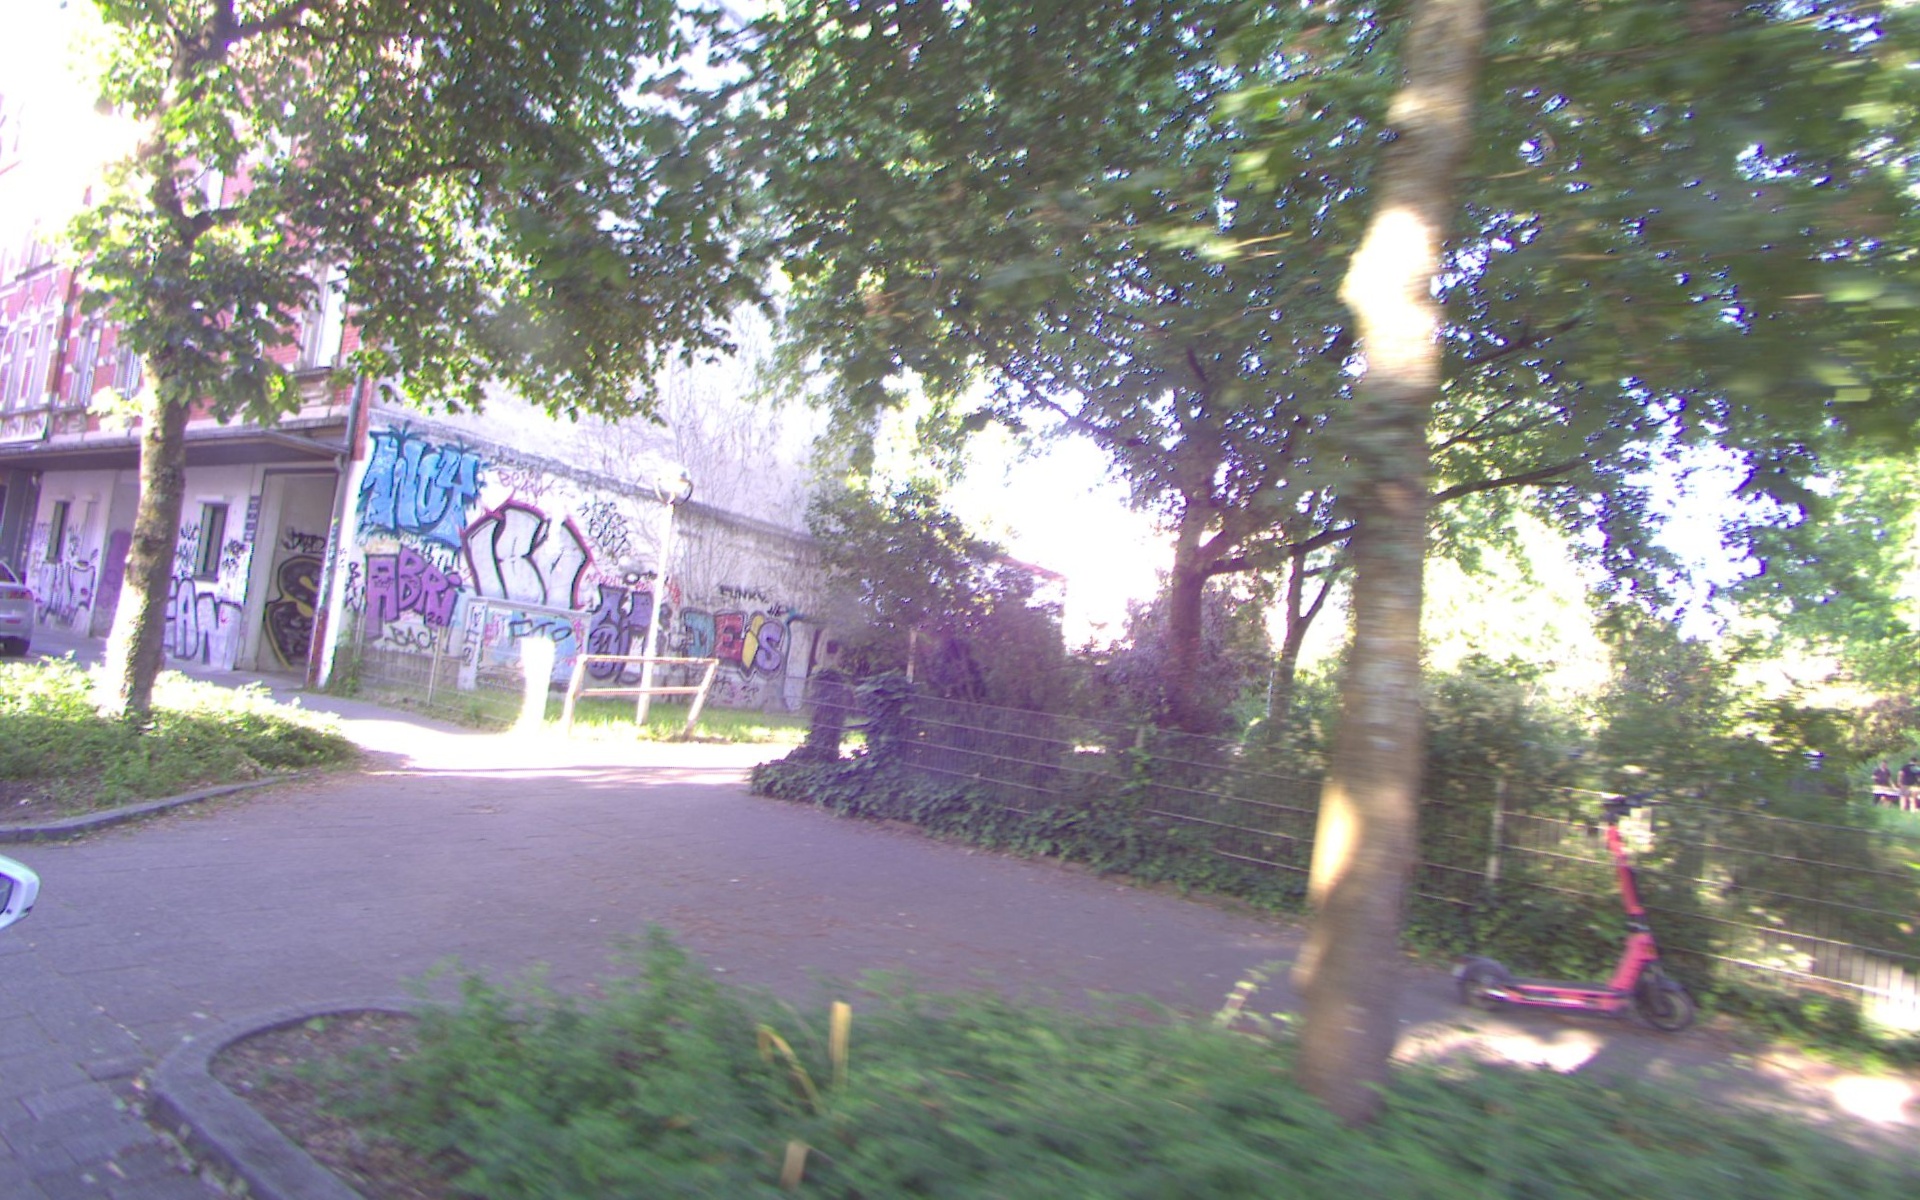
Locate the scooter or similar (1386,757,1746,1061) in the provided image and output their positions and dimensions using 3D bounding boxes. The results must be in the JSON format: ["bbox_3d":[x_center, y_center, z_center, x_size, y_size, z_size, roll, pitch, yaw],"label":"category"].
[{"bbox_3d":[3.120,1.567,5.268,1.445,1.276,0.547,6,-2,3],"label":"scooter or similar"}]

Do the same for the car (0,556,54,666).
[{"bbox_3d":[-16.165,-0.017,15.768,4.328,1.578,1.725,4,-5,33],"label":"car"}]

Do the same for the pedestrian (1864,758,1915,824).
[{"bbox_3d":[31.228,6.405,33.805,0.736,2.036,0.911,6,-3,-9],"label":"pedestrian"}]

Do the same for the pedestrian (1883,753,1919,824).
[{"bbox_3d":[28.981,5.756,30.640,0.736,2.036,0.911,6,-3,-9],"label":"pedestrian"}]

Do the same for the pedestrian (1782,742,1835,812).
[{"bbox_3d":[26.818,5.585,31.811,0.736,2.036,0.911,6,-3,-9],"label":"pedestrian"}]
